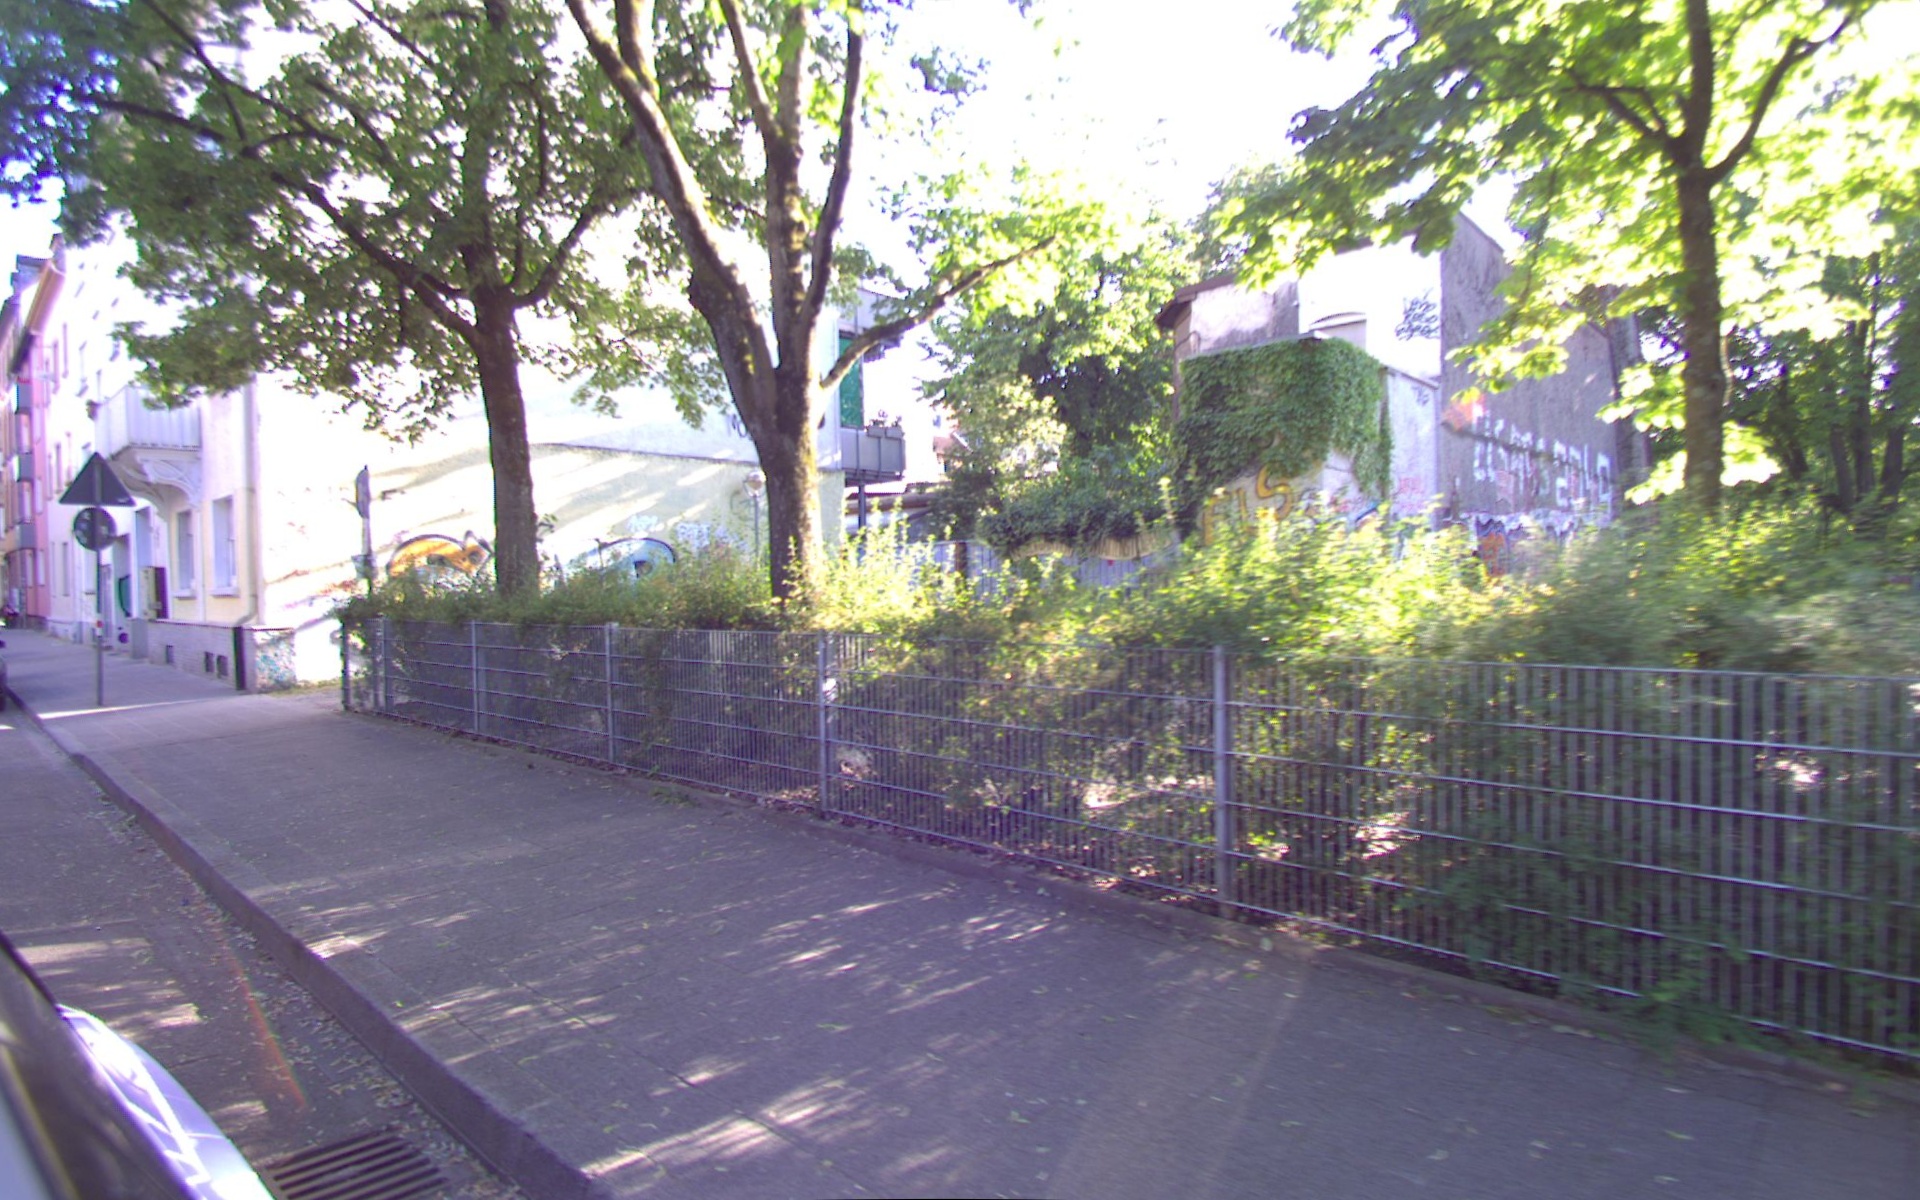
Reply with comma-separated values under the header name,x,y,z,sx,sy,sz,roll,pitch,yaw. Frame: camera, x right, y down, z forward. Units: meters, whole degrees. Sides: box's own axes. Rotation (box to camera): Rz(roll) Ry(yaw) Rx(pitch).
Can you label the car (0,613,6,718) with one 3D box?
name,x,y,z,sx,sy,sz,roll,pitch,yaw
car,-15.601,0.895,15.062,4.393,1.454,1.759,0,-2,43
